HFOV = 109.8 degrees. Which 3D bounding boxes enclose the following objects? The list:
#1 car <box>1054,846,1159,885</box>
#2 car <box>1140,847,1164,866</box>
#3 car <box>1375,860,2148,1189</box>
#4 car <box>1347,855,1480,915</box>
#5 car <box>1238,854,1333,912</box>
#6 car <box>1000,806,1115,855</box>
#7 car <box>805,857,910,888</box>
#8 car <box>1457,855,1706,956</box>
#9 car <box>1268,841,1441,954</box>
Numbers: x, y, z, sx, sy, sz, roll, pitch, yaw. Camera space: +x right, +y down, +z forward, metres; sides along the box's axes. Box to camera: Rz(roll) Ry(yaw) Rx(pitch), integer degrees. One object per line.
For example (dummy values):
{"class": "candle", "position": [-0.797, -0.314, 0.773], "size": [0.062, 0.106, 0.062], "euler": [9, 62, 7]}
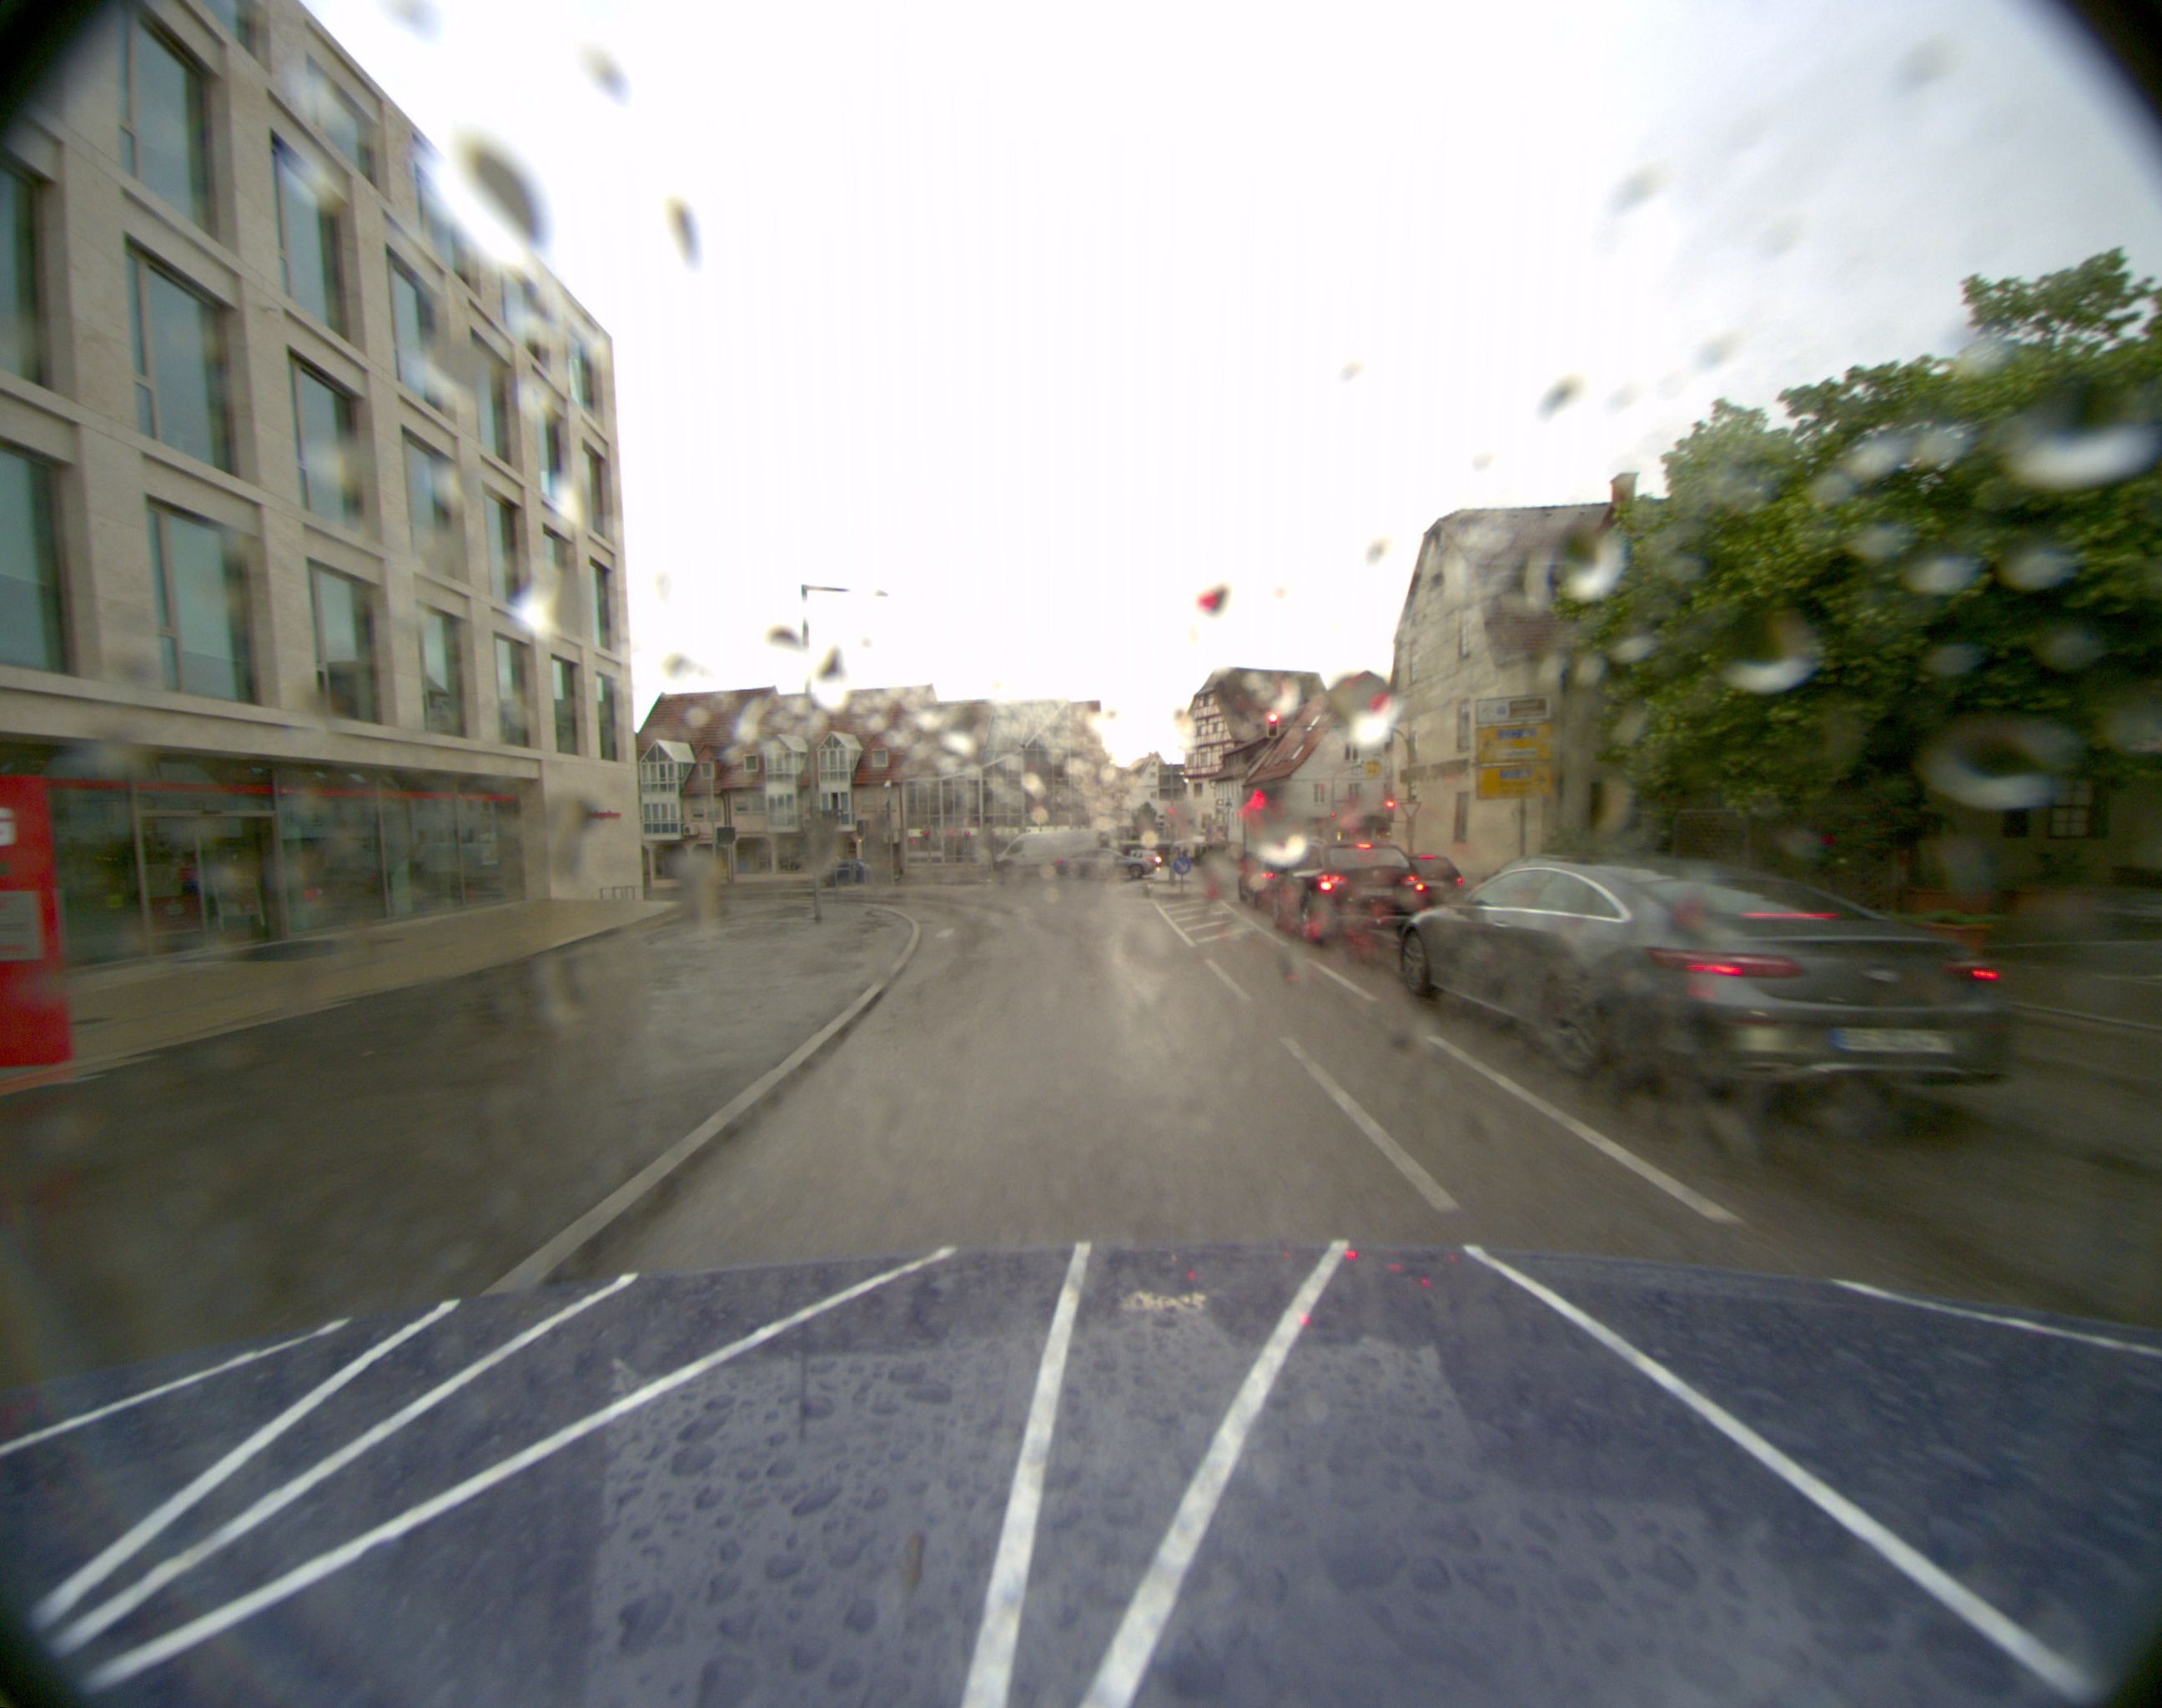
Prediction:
{"class": "car", "position": [1.311, 0.554, 38.016], "size": [5.026, 1.834, 2.001], "euler": [-1, 1, 9]}
{"class": "car", "position": [5.975, 0.218, 64.108], "size": [1.727, 1.538, 4.000], "euler": [-1, 1, 1]}
{"class": "car", "position": [4.132, 0.826, 6.069], "size": [1.945, 1.432, 5.017], "euler": [-1, 1, 4]}
{"class": "car", "position": [8.097, 0.696, 18.911], "size": [1.852, 1.286, 4.034], "euler": [-1, 1, 5]}
{"class": "car", "position": [5.378, 0.703, 20.423], "size": [1.817, 1.356, 3.748], "euler": [-1, 1, 5]}
{"class": "car", "position": [-1.344, -1.347, 44.751], "size": [6.505, 2.673, 2.001], "euler": [-1, 1, 7]}
{"class": "car", "position": [-11.992, 0.982, 40.891], "size": [5.024, 1.536, 2.002], "euler": [-1, 1, 12]}
{"class": "car", "position": [8.057, 0.737, 12.749], "size": [1.741, 1.346, 4.061], "euler": [-1, 1, 4]}
{"class": "car", "position": [4.555, 0.627, 13.328], "size": [1.852, 1.654, 4.221], "euler": [-1, 1, 5]}
